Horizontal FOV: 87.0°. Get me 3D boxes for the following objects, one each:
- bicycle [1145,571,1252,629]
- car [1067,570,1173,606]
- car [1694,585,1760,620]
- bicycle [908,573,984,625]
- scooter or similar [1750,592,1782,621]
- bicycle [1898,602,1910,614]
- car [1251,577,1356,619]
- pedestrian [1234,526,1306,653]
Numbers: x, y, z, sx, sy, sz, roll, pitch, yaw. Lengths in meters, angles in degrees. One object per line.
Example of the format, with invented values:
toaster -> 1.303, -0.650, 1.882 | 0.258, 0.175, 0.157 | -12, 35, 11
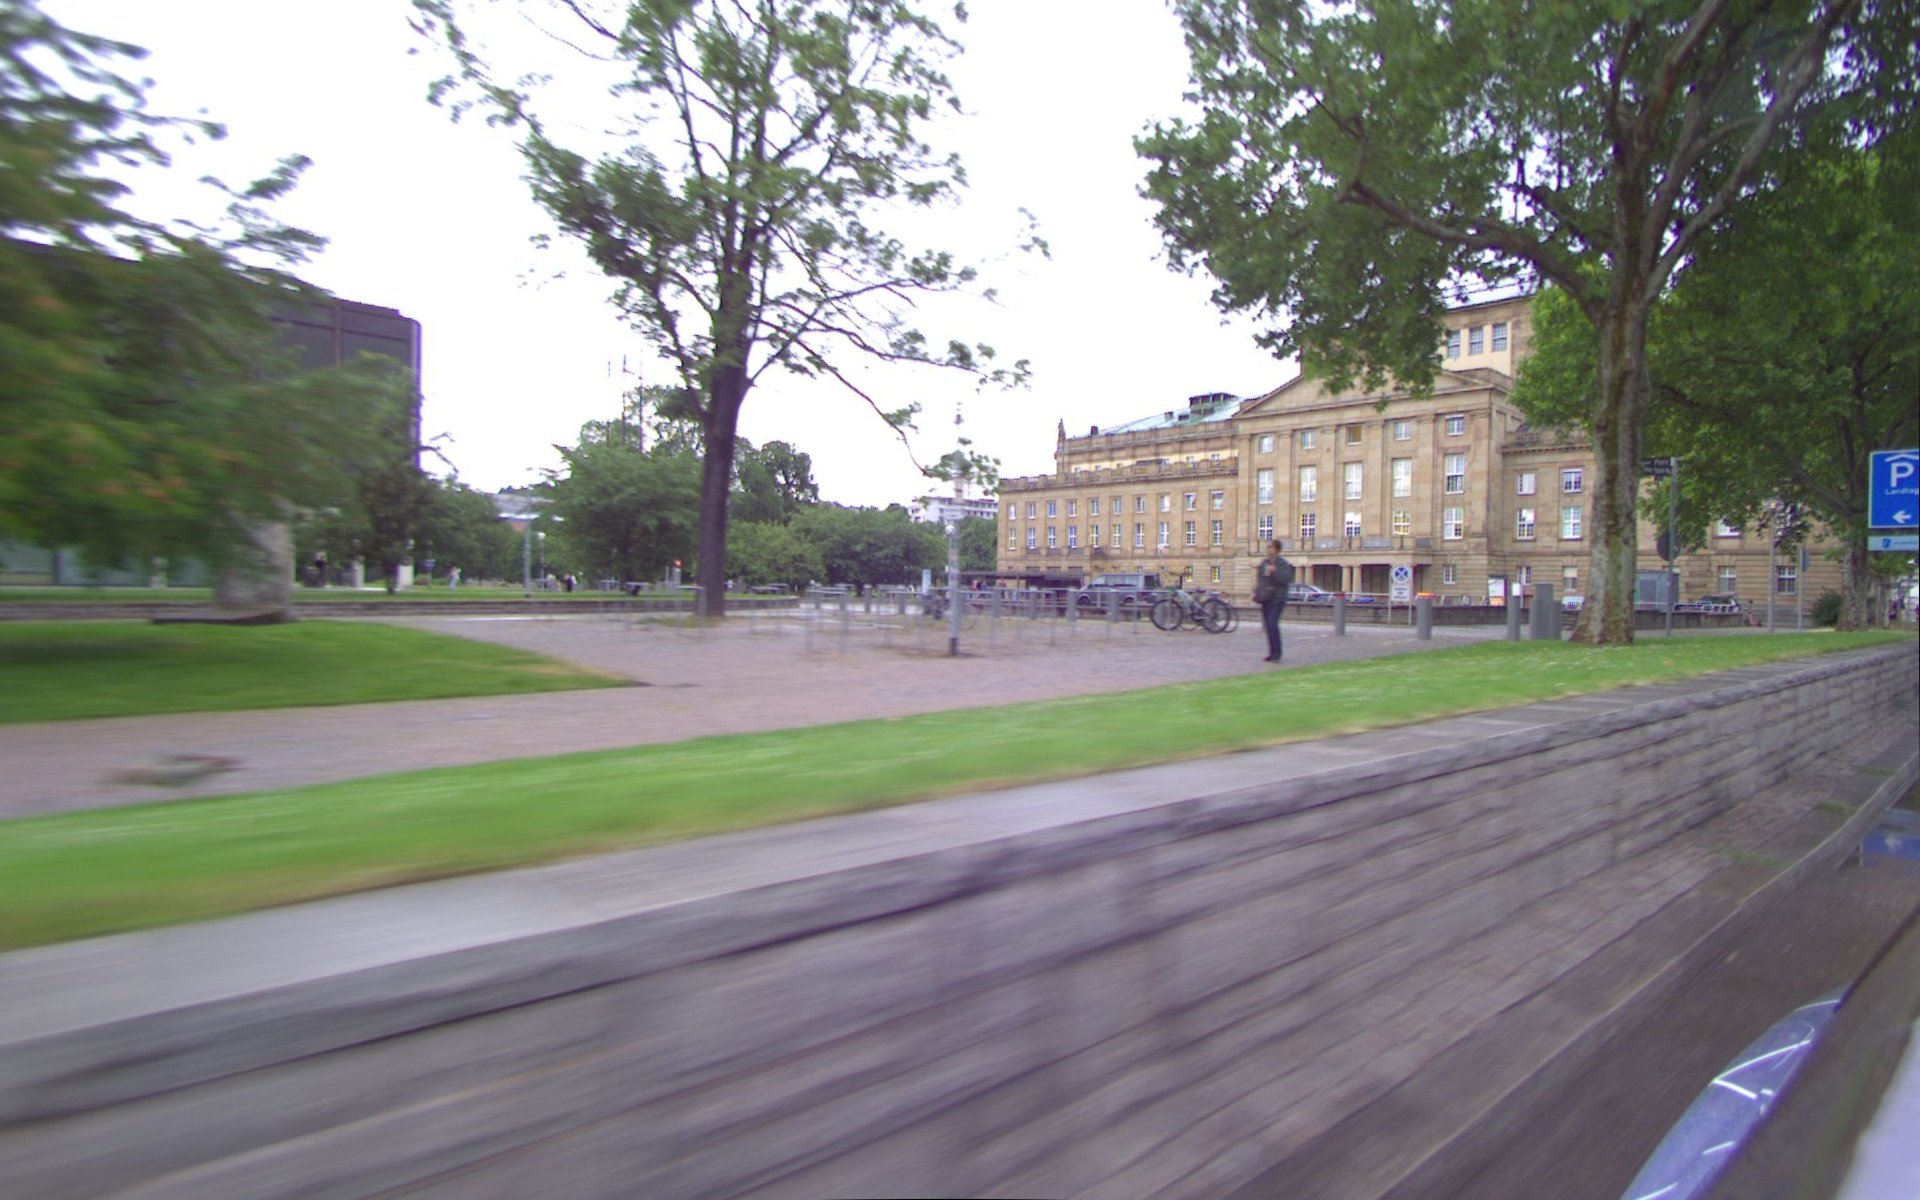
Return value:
bicycle -> 5.131, -0.013, 21.857 | 2.030, 1.188, 0.947 | 2, 0, 37
car -> 8.369, -0.650, 53.218 | 5.007, 1.786, 2.422 | 1, 1, 44
car -> 38.040, 0.143, 50.158 | 1.994, 1.630, 5.151 | 1, -1, 44
bicycle -> -0.331, -0.033, 22.537 | 1.640, 1.099, 0.698 | 2, 0, 42
scooter or similar -> 36.510, 0.298, 45.856 | 0.535, 1.271, 1.431 | 2, 1, 14
bicycle -> 84.177, 0.723, 90.244 | 0.711, 1.064, 1.715 | 0, 1, 40
car -> 14.810, -0.123, 43.774 | 1.628, 1.619, 3.995 | 0, 3, -41
pedestrian -> 4.405, -0.148, 14.392 | 0.680, 1.740, 0.706 | 1, 1, -42
